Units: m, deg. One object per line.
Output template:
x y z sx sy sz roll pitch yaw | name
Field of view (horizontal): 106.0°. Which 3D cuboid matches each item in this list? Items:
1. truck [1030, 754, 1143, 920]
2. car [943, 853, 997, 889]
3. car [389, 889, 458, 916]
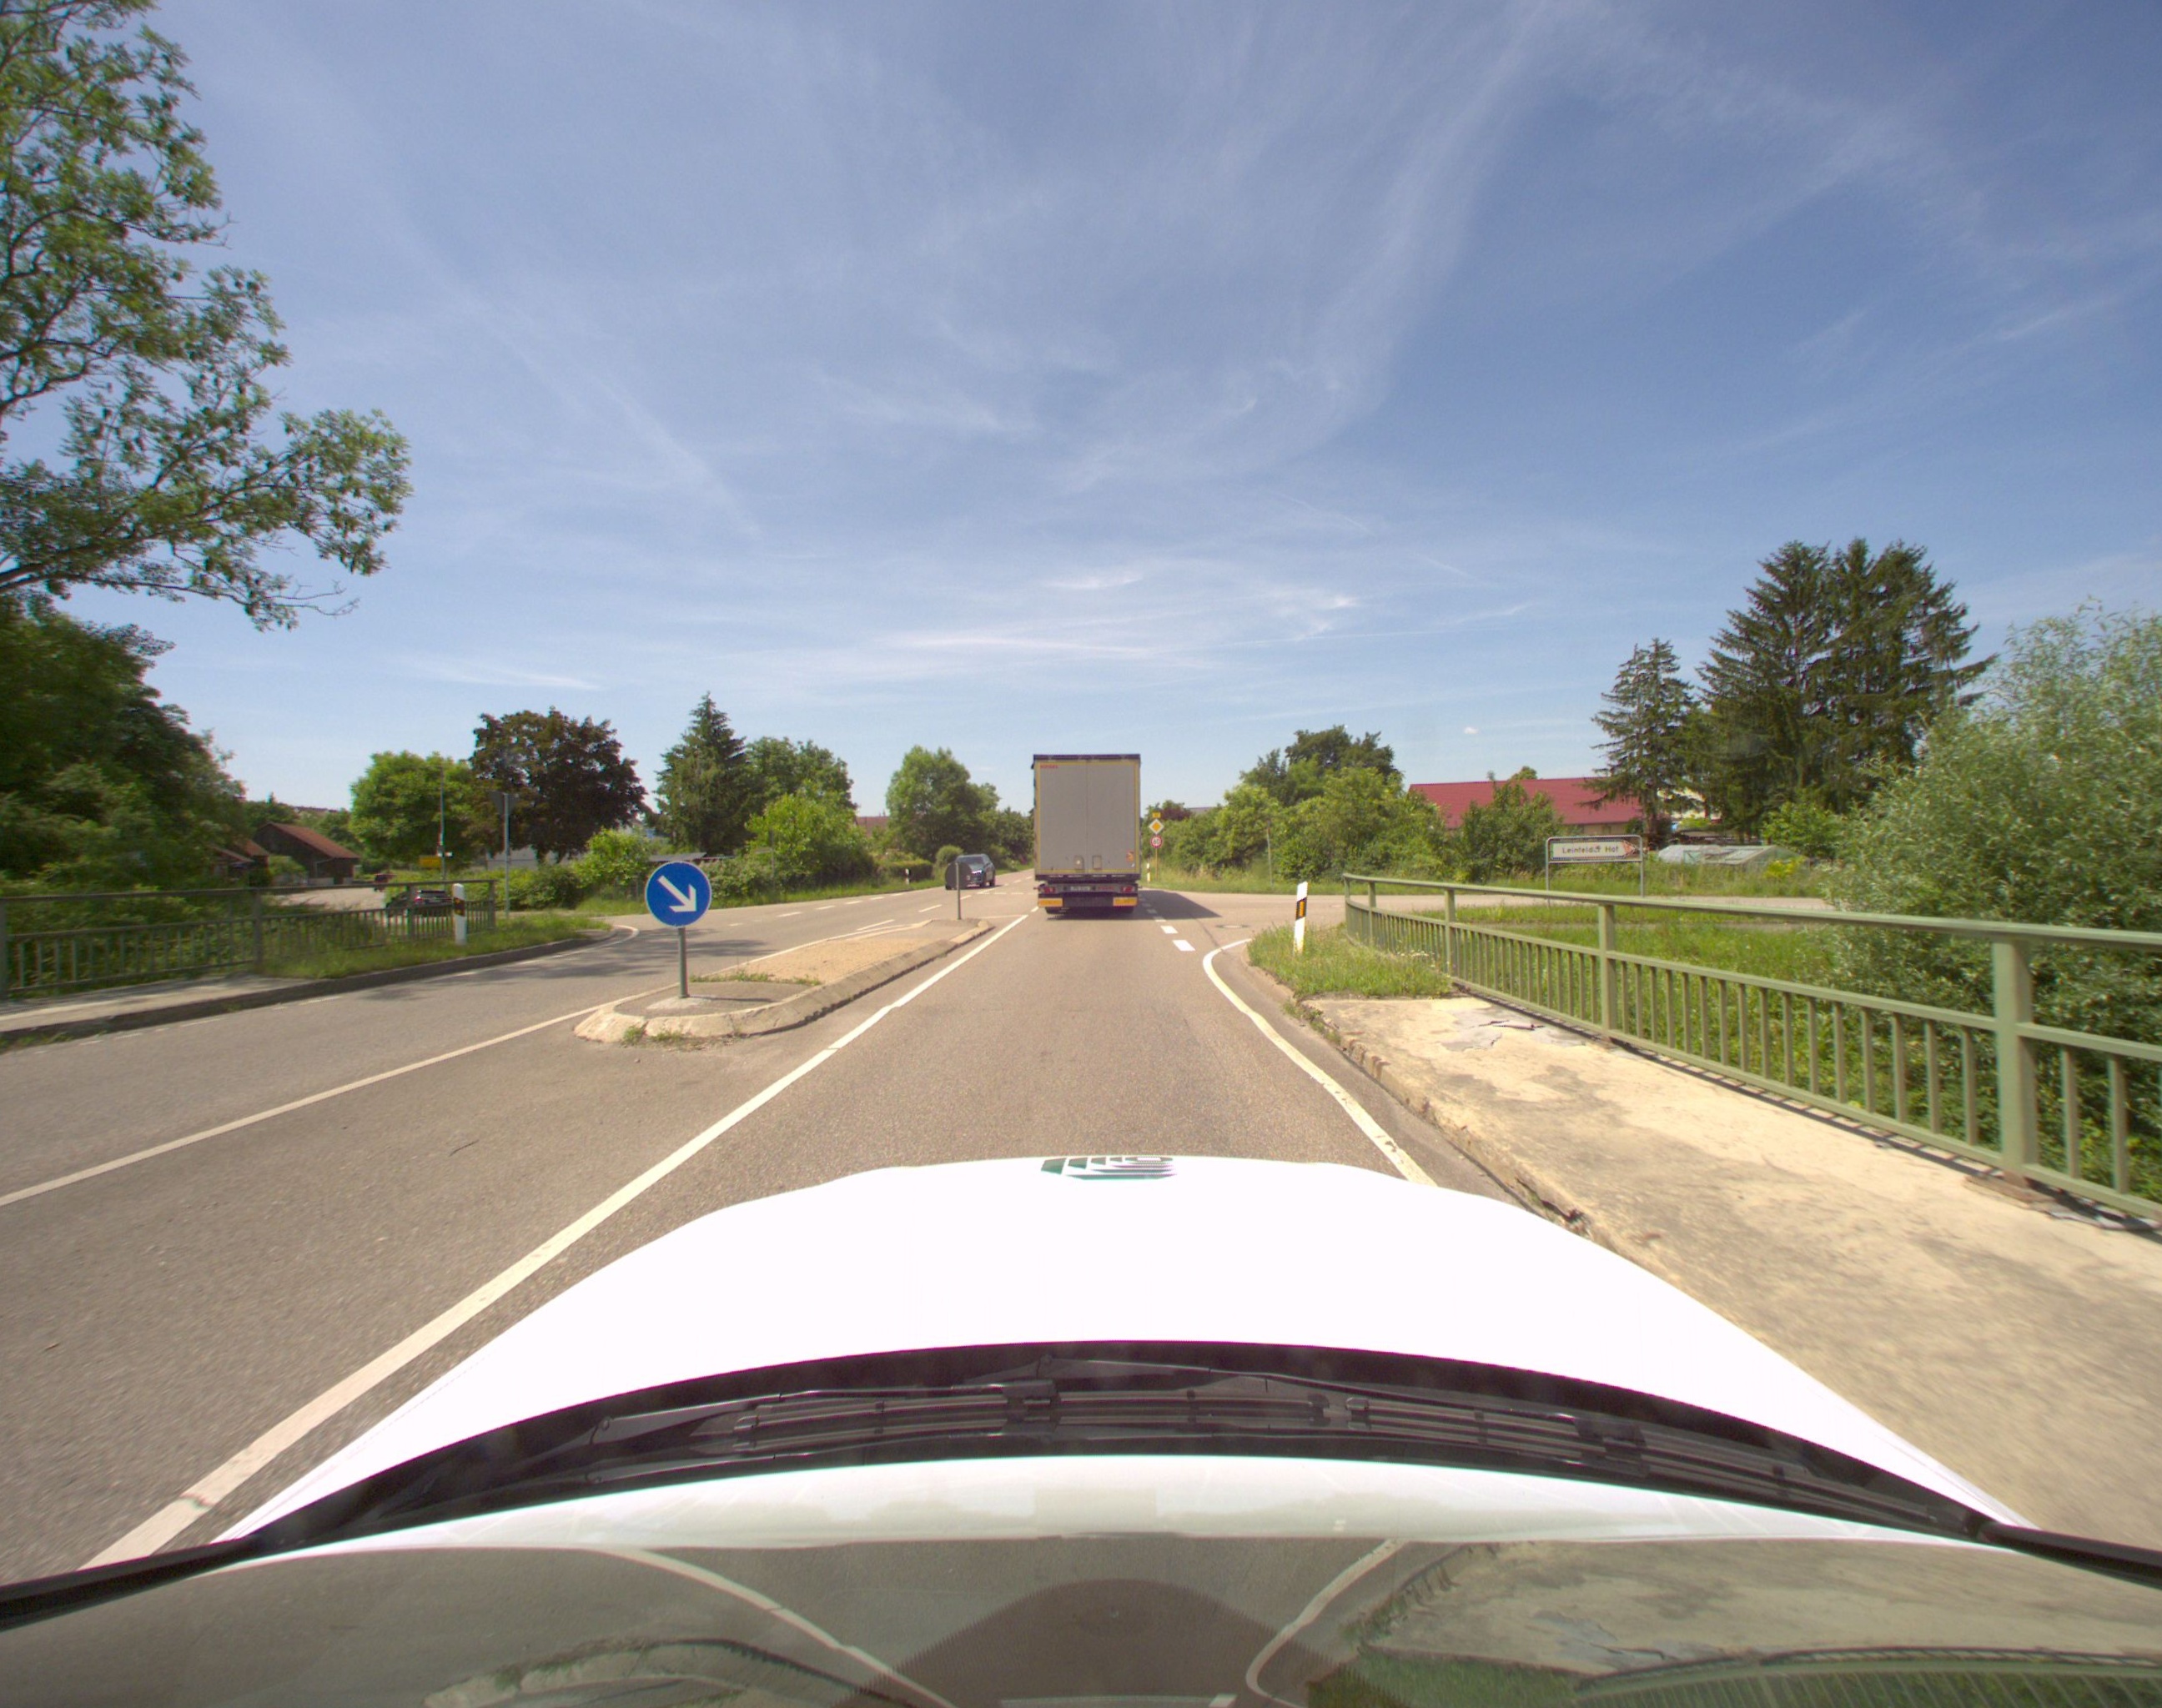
0.122 -0.415 23.702 2.639 3.917 8.823 -1 0 0 | truck
-5.423 0.793 40.289 1.942 1.654 4.432 -1 0 0 | car
-34.706 2.554 42.953 3.948 1.357 1.809 -3 -3 36 | car
